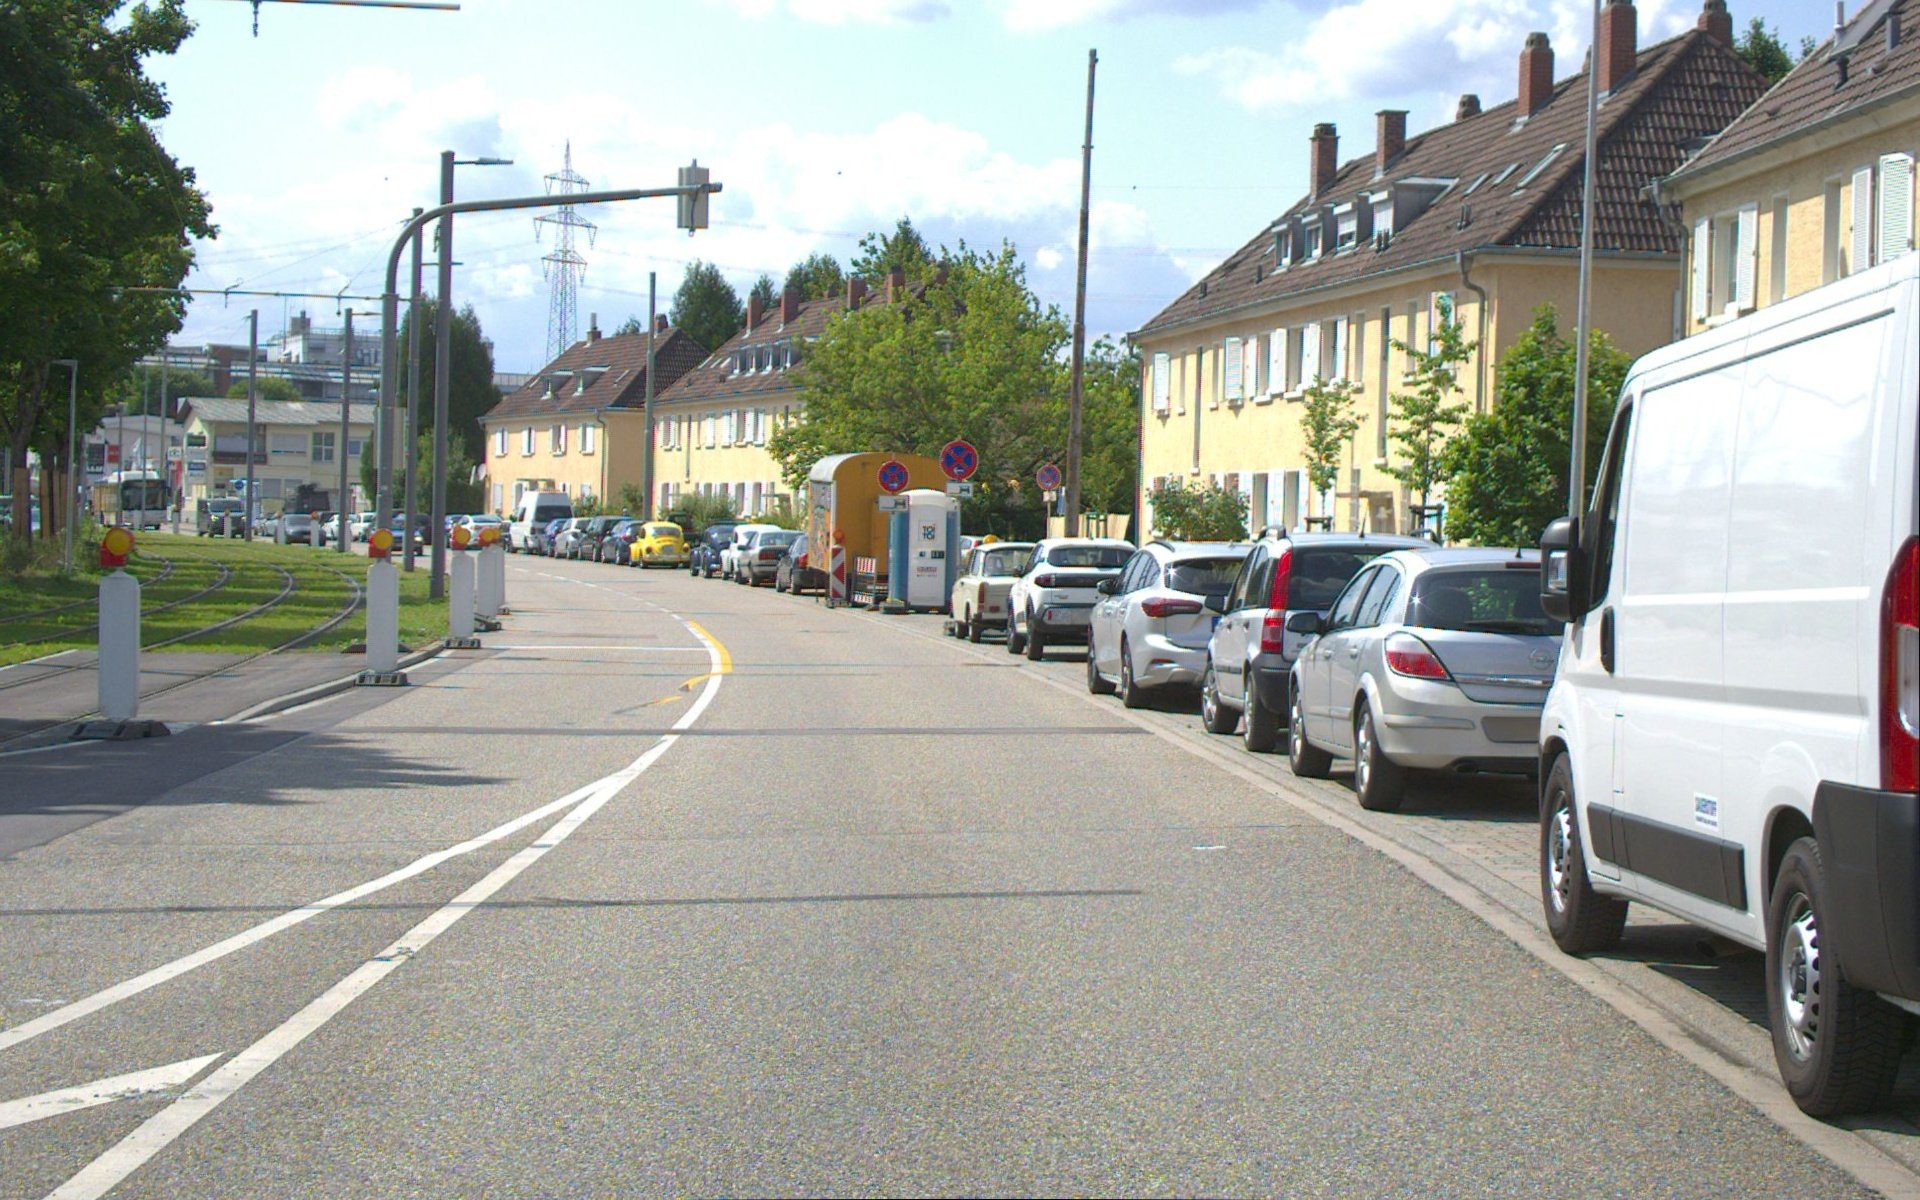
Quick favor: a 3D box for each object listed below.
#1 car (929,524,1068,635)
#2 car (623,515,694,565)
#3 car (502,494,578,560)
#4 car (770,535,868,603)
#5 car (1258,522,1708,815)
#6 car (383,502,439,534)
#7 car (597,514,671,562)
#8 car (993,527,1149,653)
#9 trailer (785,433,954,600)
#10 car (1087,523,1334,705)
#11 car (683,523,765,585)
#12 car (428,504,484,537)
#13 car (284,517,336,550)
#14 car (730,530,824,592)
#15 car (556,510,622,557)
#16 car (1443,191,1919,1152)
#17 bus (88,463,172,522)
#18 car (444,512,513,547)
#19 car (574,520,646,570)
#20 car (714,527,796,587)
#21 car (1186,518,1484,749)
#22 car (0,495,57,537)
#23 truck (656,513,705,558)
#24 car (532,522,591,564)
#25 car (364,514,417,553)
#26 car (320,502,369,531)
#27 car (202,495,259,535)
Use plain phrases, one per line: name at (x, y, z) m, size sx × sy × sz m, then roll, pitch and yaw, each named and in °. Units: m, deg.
car at (0.506, -0.323, 49.232) m, size 1.463 × 1.497 × 4.110 m, roll 1°, pitch 1°, yaw -7°
car at (-9.571, -1.922, 109.054) m, size 1.636 × 1.477 × 3.933 m, roll -1°, pitch 3°, yaw -14°
car at (-16.273, -2.823, 133.074) m, size 1.929 × 2.472 × 5.519 m, roll 1°, pitch 1°, yaw -17°
car at (-3.275, -0.745, 79.162) m, size 1.577 × 1.444 × 4.455 m, roll 2°, pitch 1°, yaw -11°
car at (2.927, 0.318, 20.135) m, size 1.707 × 1.499 × 4.256 m, roll 1°, pitch 1°, yaw -4°
car at (-25.375, -3.798, 158.795) m, size 1.763 × 1.412 × 4.001 m, roll 0°, pitch 2°, yaw -21°
car at (-10.845, -2.075, 114.167) m, size 1.635 × 1.477 × 4.126 m, roll 2°, pitch 1°, yaw -16°
car at (1.345, -0.157, 42.846) m, size 1.527 × 1.476 × 3.810 m, roll 1°, pitch 1°, yaw -4°
trailer at (-1.922, -1.712, 70.766) m, size 2.689 × 3.215 × 5.083 m, roll 2°, pitch 1°, yaw -10°
car at (2.176, 0.079, 30.928) m, size 1.749 × 1.492 × 4.386 m, roll 1°, pitch 1°, yaw -2°
car at (-6.685, -1.322, 96.959) m, size 1.548 × 1.635 × 4.248 m, roll 2°, pitch 1°, yaw -14°
car at (-22.060, -3.485, 150.421) m, size 1.620 × 1.412 × 4.001 m, roll 0°, pitch 2°, yaw -21°
car at (-28.598, -2.930, 151.148) m, size 1.724 × 1.384 × 4.123 m, roll 1°, pitch 1°, yaw -17°
car at (-4.666, -1.003, 86.924) m, size 1.706 × 1.444 × 4.836 m, roll 2°, pitch 1°, yaw -11°
car at (-13.328, -2.403, 123.329) m, size 1.635 × 1.597 × 4.031 m, roll 2°, pitch 1°, yaw -16°
car at (3.134, 0.126, 10.969) m, size 2.276 × 2.175 × 6.368 m, roll 1°, pitch 1°, yaw 0°
bus at (-49.424, -6.400, 204.471) m, size 2.635 × 3.400 × 12.252 m, roll 0°, pitch 2°, yaw -24°
car at (-20.350, -2.988, 145.187) m, size 1.798 × 1.453 × 4.767 m, roll 0°, pitch 1°, yaw -21°
car at (-12.189, -1.928, 119.497) m, size 1.635 × 1.597 × 3.933 m, roll 2°, pitch 1°, yaw -18°
car at (-5.513, -1.165, 91.950) m, size 1.577 × 1.507 × 4.461 m, roll 2°, pitch 1°, yaw -11°
car at (2.665, 0.193, 25.199) m, size 1.628 × 1.544 × 3.810 m, roll 1°, pitch 1°, yaw -2°
car at (-36.284, -3.278, 133.802) m, size 1.810 × 1.581 × 4.569 m, roll 0°, pitch 2°, yaw -20°
truck at (-10.752, -2.493, 132.166) m, size 1.346 × 1.683 × 2.442 m, roll 1°, pitch 1°, yaw -17°
car at (-14.829, -2.123, 127.921) m, size 1.535 × 1.440 × 3.738 m, roll 2°, pitch 1°, yaw -16°
car at (-21.486, -2.516, 129.539) m, size 1.665 × 1.444 × 3.961 m, roll -1°, pitch 2°, yaw -14°
car at (-31.140, -4.233, 173.906) m, size 1.763 × 1.434 × 4.001 m, roll 0°, pitch 2°, yaw -21°
car at (-36.462, -4.259, 171.652) m, size 1.955 × 1.959 × 5.294 m, roll 1°, pitch 1°, yaw -21°
